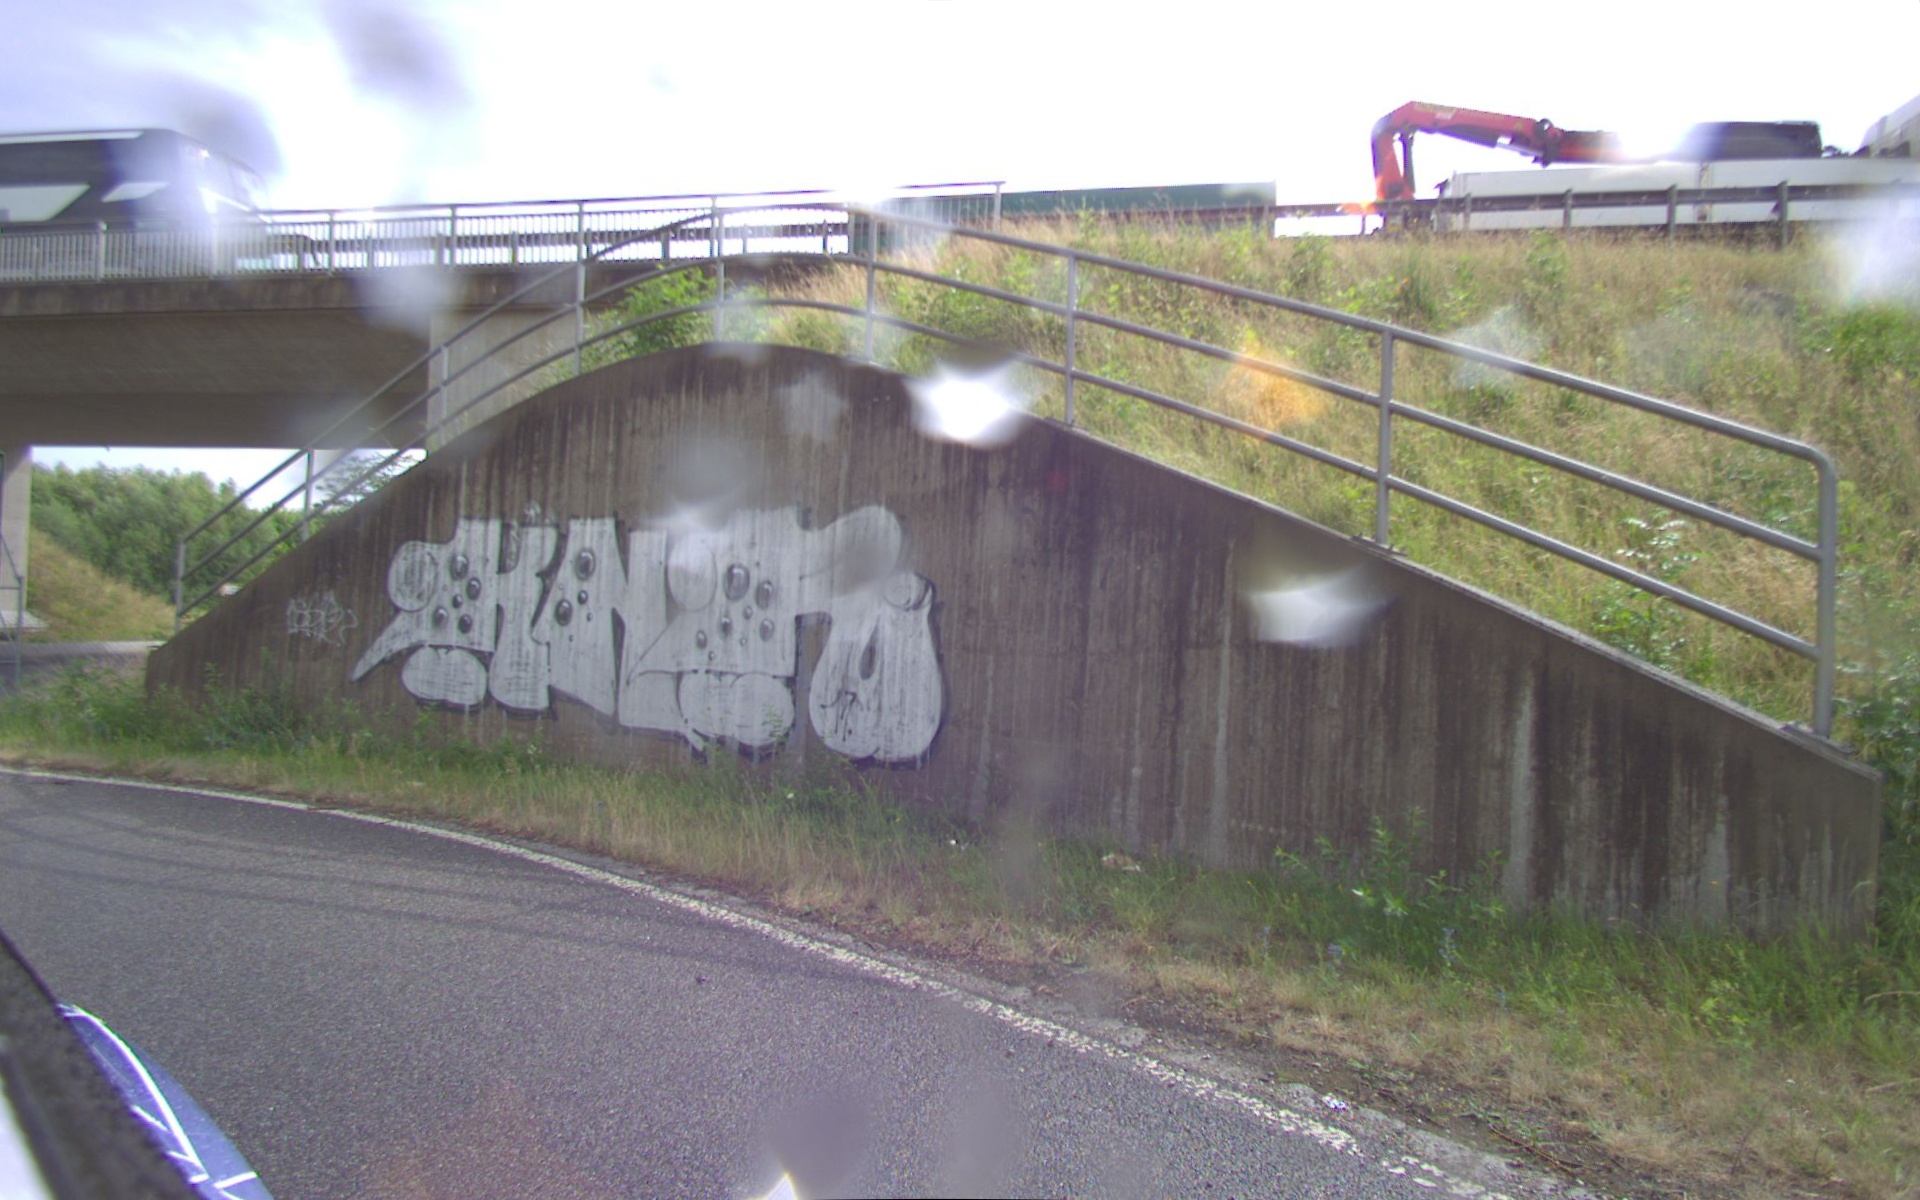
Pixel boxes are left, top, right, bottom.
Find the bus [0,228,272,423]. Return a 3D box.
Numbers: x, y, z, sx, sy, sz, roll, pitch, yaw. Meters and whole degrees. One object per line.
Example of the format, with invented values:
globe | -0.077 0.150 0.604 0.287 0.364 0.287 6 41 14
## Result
bus | -21.664 -5.542 20.479 14.279 3.102 2.610 2 0 5
